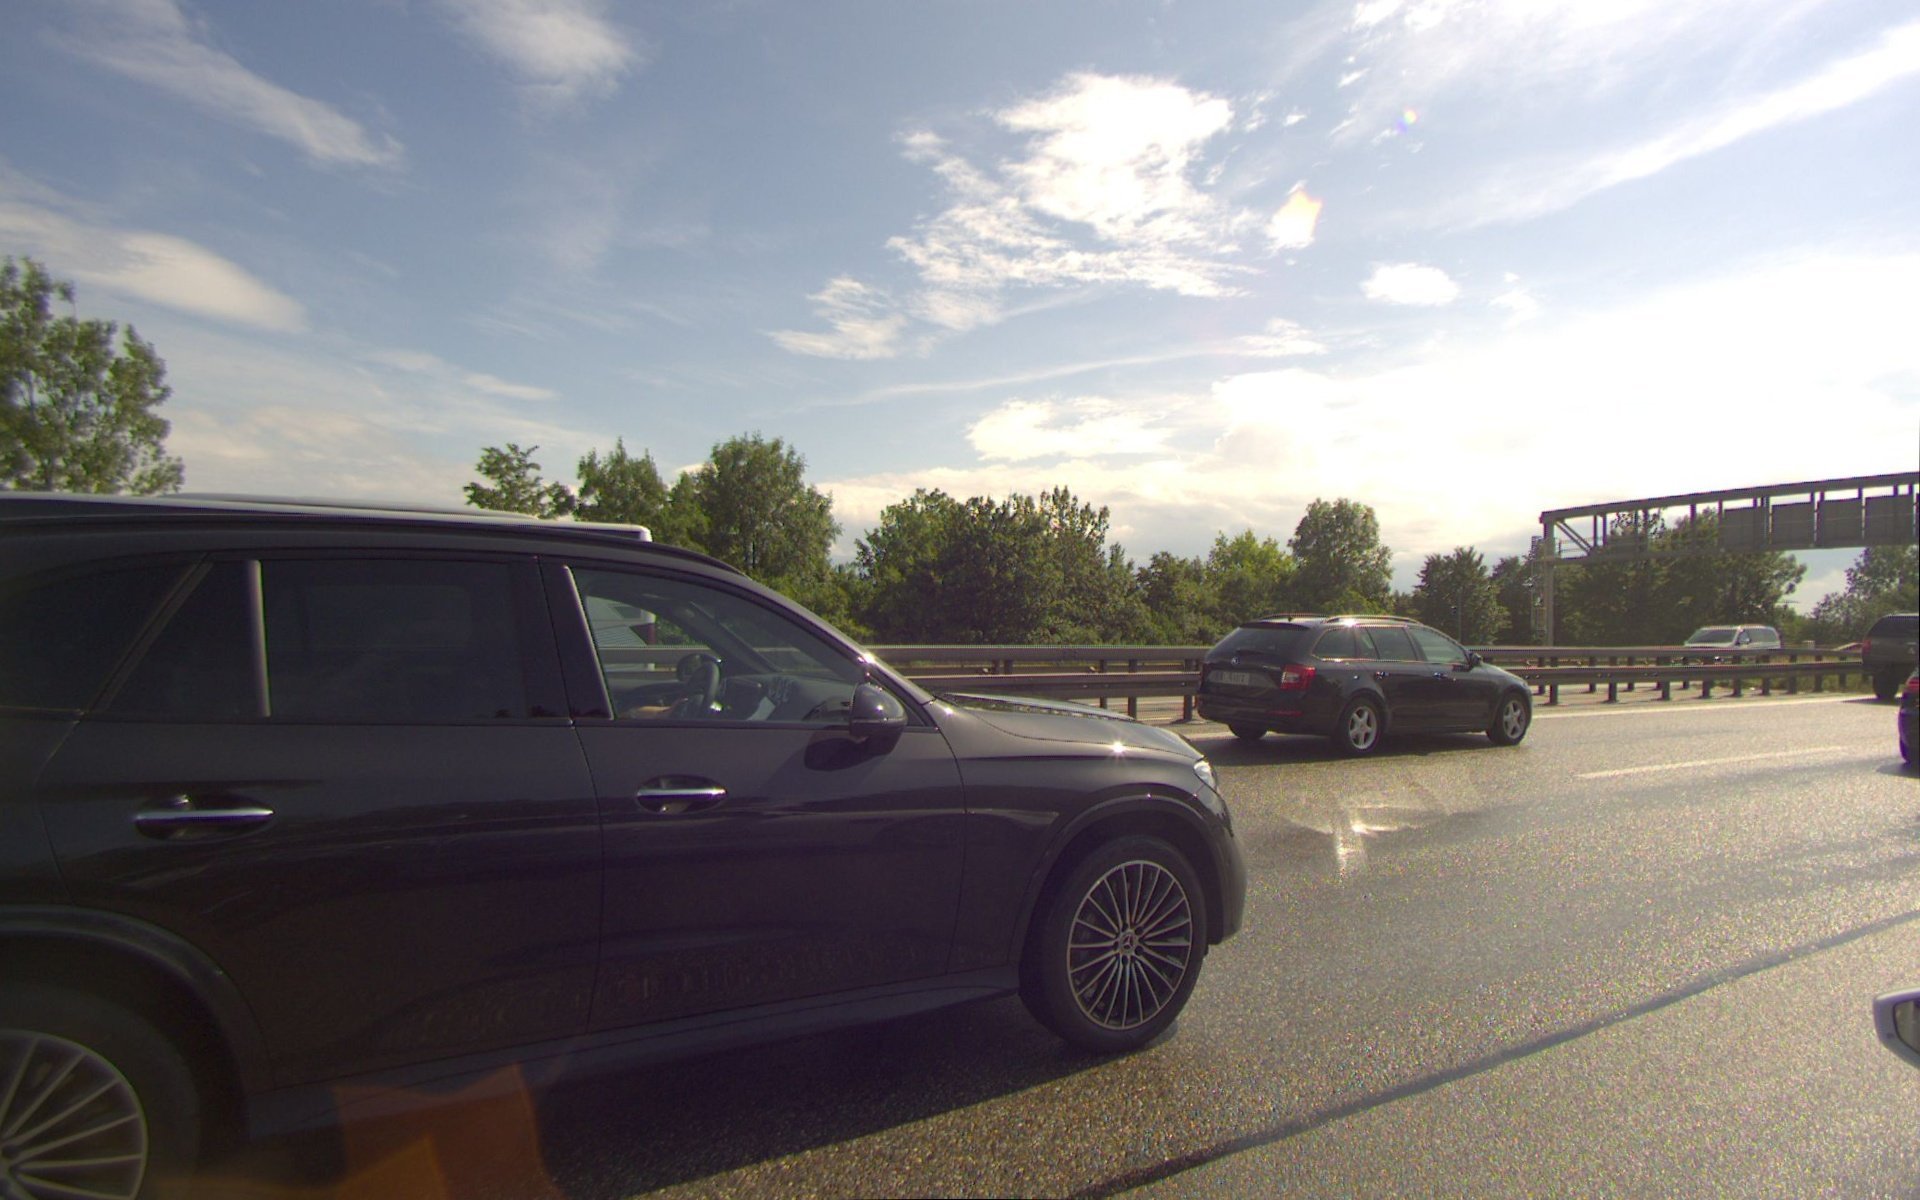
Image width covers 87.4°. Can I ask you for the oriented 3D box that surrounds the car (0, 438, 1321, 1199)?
[{"bbox_3d":[-1.119,0.580,3.331,4.572,1.701,1.867,1,-1,-30],"label":"car"}]

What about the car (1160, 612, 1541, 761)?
[{"bbox_3d":[4.635,0.912,11.779,4.321,1.444,1.911,2,-1,-31],"label":"car"}]

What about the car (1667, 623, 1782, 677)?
[{"bbox_3d":[30.852,1.995,40.489,4.893,2.040,1.984,1,-1,-31],"label":"car"}]

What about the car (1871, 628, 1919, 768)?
[{"bbox_3d":[11.981,1.067,11.073,4.006,1.452,1.742,1,0,-30],"label":"car"}]

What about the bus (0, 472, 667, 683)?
[{"bbox_3d":[-12.091,-0.249,19.277,12.066,3.330,2.926,2,-1,-30],"label":"bus"}]

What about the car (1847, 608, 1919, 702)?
[{"bbox_3d":[21.569,1.171,21.791,5.352,1.868,1.799,1,0,-29],"label":"car"}]
